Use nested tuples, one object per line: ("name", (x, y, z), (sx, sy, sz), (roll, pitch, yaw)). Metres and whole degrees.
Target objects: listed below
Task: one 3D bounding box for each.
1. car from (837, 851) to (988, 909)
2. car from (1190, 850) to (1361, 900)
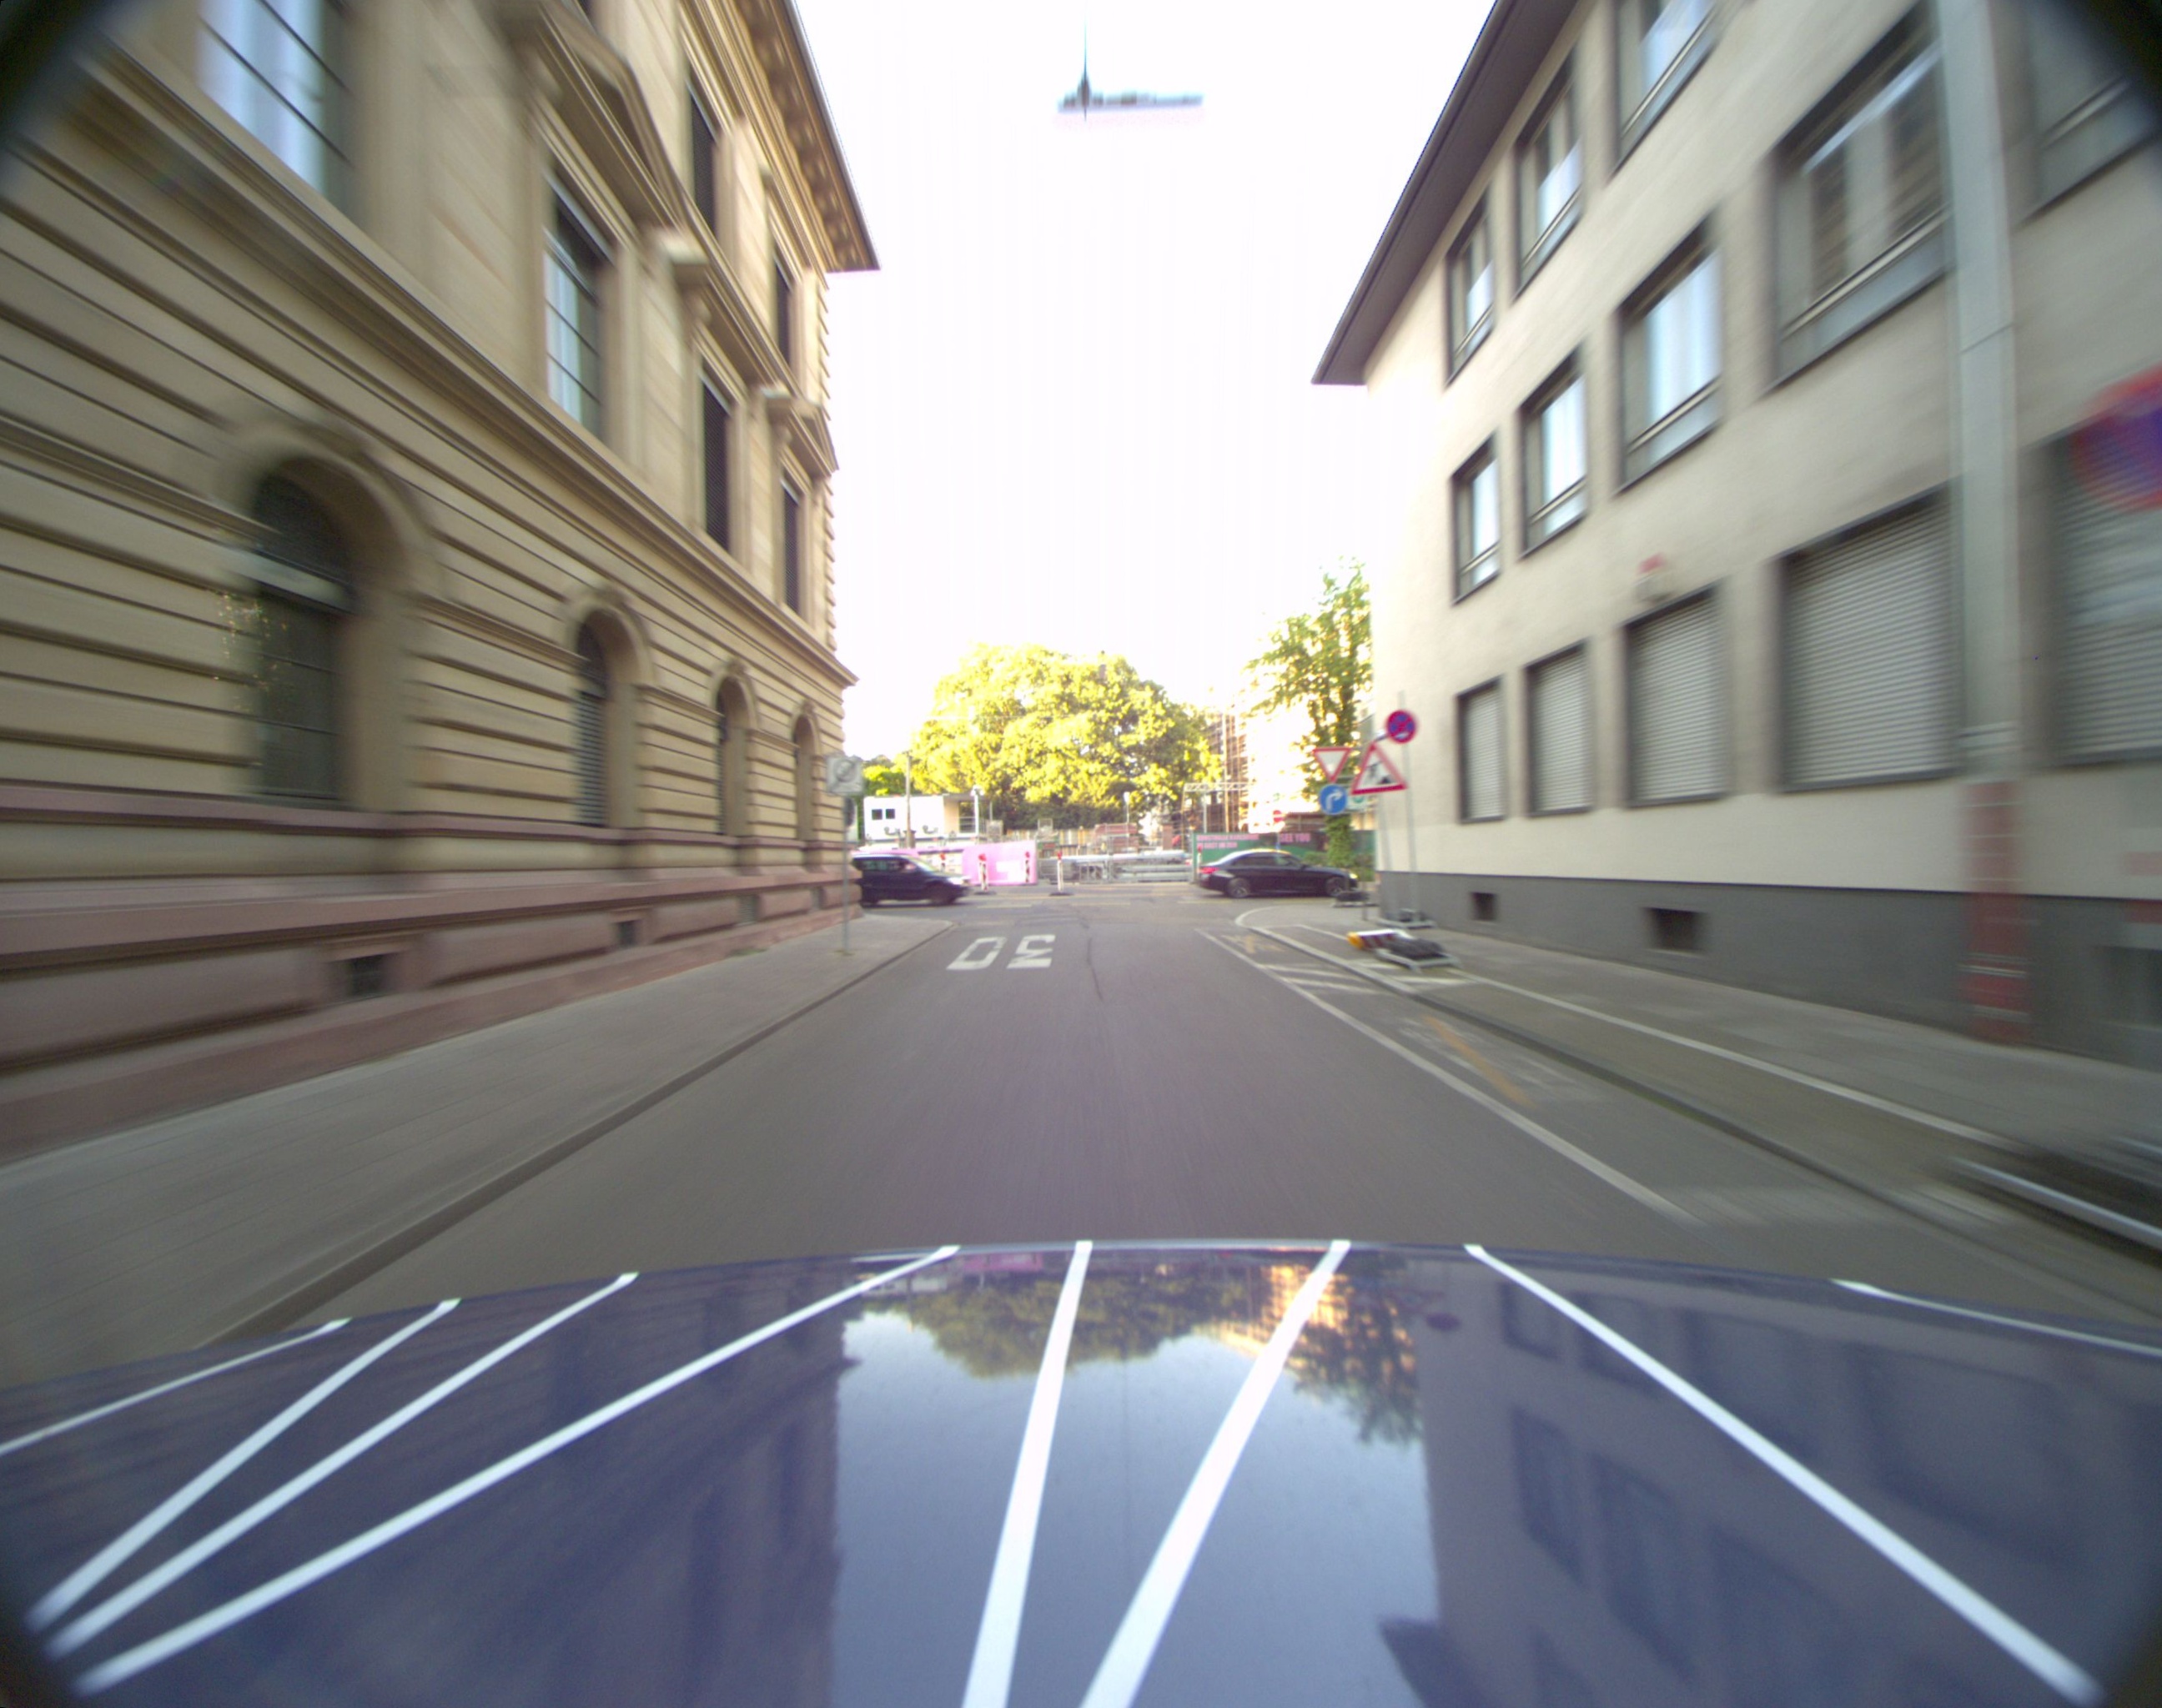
("car", (-5.289, 0.796, 24.232), (4.248, 1.648, 1.937), (-2, 1, 3))
("car", (5.959, 0.624, 23.748), (4.828, 1.375, 2.000), (-1, 1, 0))
